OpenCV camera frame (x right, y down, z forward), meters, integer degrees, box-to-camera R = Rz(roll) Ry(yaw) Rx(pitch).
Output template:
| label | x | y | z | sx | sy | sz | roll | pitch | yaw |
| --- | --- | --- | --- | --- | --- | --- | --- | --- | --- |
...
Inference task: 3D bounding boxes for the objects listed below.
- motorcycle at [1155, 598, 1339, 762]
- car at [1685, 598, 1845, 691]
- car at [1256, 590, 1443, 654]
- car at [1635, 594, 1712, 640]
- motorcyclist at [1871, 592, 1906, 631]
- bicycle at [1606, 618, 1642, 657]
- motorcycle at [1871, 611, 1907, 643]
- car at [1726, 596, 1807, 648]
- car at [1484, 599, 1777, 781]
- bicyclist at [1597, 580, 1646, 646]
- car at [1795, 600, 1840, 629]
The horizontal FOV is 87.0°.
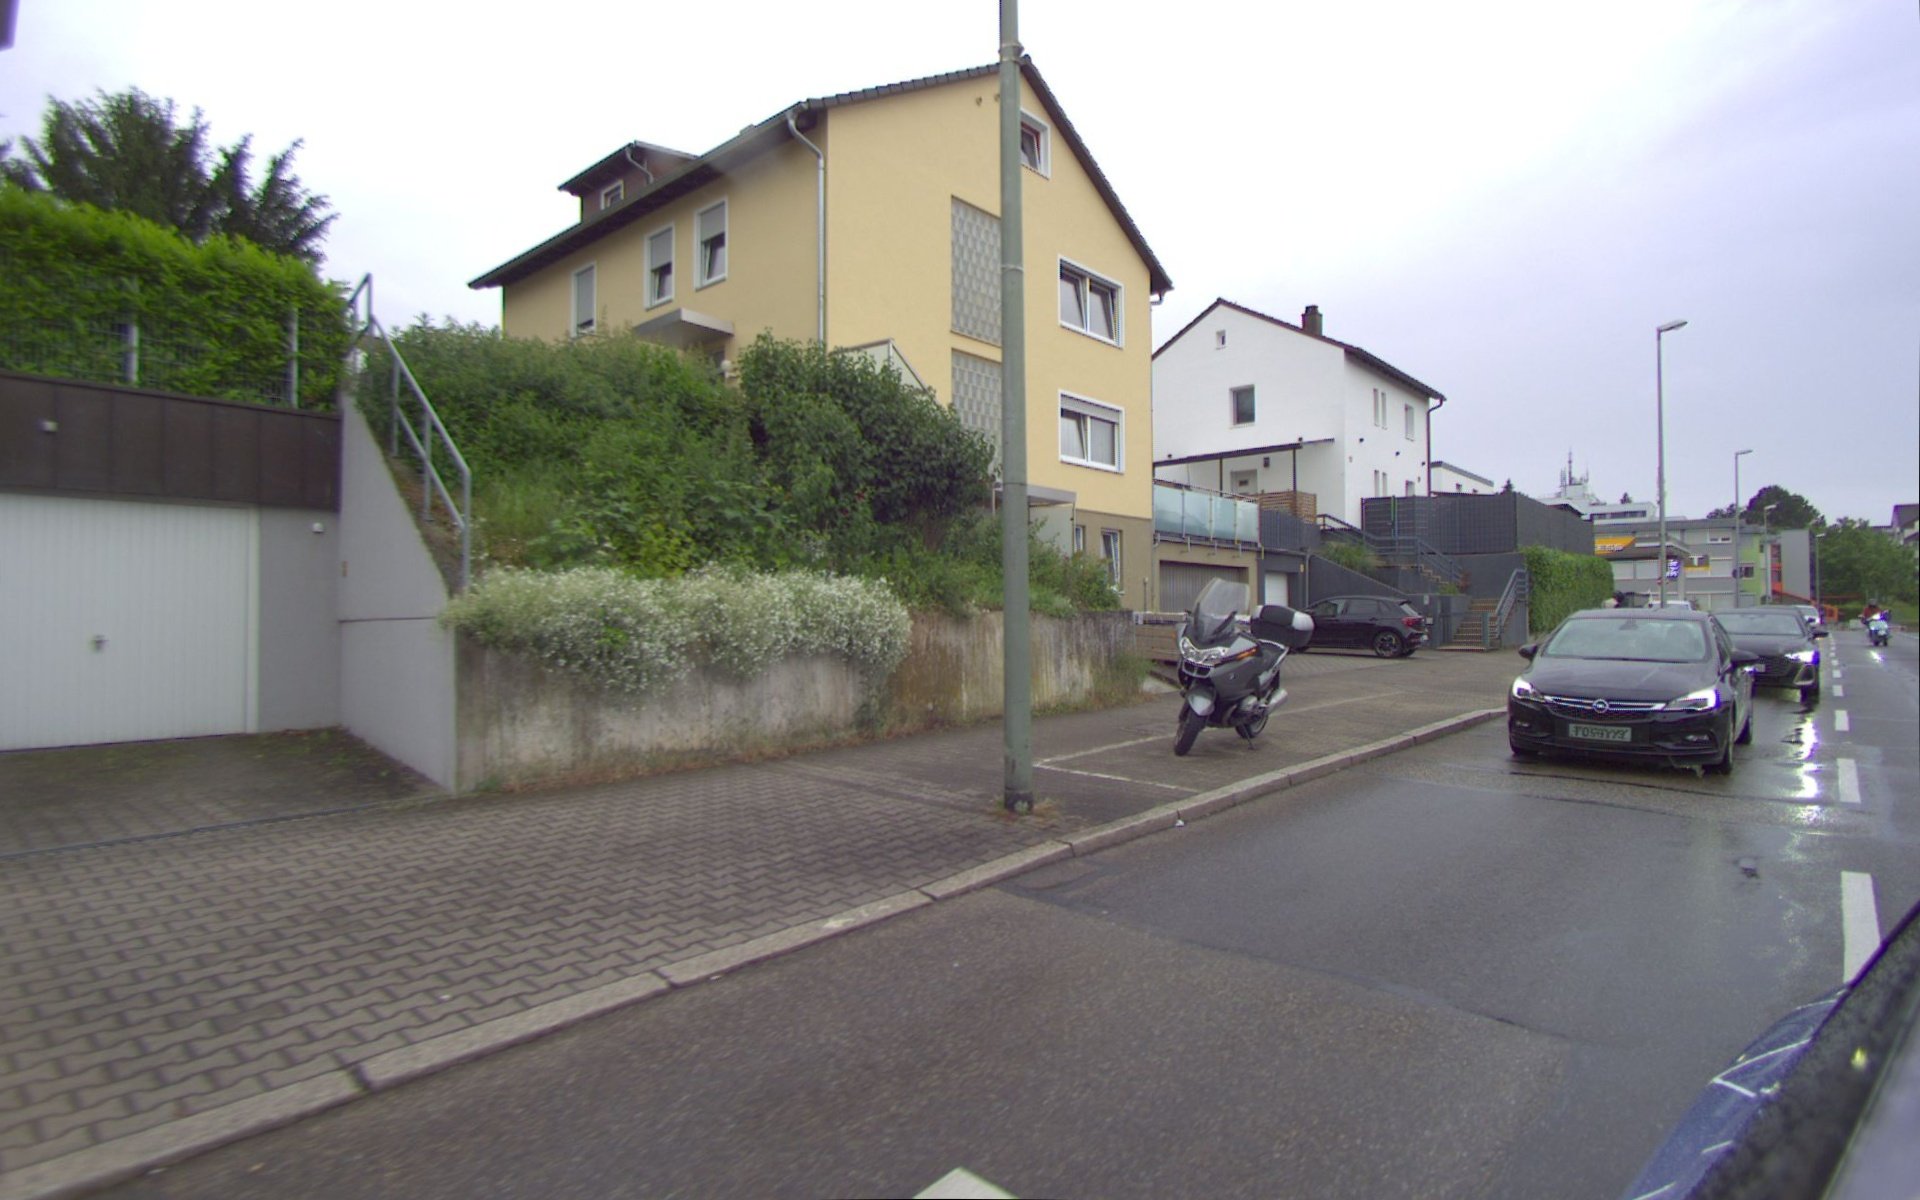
| label | x | y | z | sx | sy | sz | roll | pitch | yaw |
| --- | --- | --- | --- | --- | --- | --- | --- | --- | --- |
| motorcycle | 2.758 | 0.654 | 9.498 | 0.691 | 1.341 | 2.442 | 1 | 0 | 41 |
| car | 14.407 | 0.755 | 17.996 | 1.905 | 1.416 | 4.780 | 0 | -2 | 43 |
| car | 9.431 | 0.476 | 24.619 | 3.976 | 1.420 | 1.652 | 1 | 1 | 37 |
| car | 24.968 | 0.545 | 35.369 | 1.732 | 1.508 | 3.938 | 1 | 1 | 43 |
| motorcyclist | 35.084 | 0.436 | 38.225 | 0.950 | 1.439 | 0.977 | 0 | 0 | 45 |
| bicycle | 16.914 | 0.945 | 25.800 | 0.728 | 0.906 | 1.906 | 1 | 1 | 33 |
| motorcycle | 35.057 | 0.996 | 38.185 | 0.942 | 1.121 | 2.367 | 0 | 0 | 44 |
| car | 26.506 | 0.739 | 33.213 | 1.835 | 1.476 | 3.937 | 1 | -3 | 42 |
| car | 6.811 | 0.713 | 10.103 | 1.835 | 1.416 | 3.938 | 1 | 1 | 43 |
| bicyclist | 16.924 | 0.319 | 25.896 | 0.889 | 1.663 | 0.809 | 0 | 0 | -38 |
| car | 47.621 | 0.803 | 56.246 | 1.834 | 1.500 | 3.941 | 1 | -1 | 40 |
